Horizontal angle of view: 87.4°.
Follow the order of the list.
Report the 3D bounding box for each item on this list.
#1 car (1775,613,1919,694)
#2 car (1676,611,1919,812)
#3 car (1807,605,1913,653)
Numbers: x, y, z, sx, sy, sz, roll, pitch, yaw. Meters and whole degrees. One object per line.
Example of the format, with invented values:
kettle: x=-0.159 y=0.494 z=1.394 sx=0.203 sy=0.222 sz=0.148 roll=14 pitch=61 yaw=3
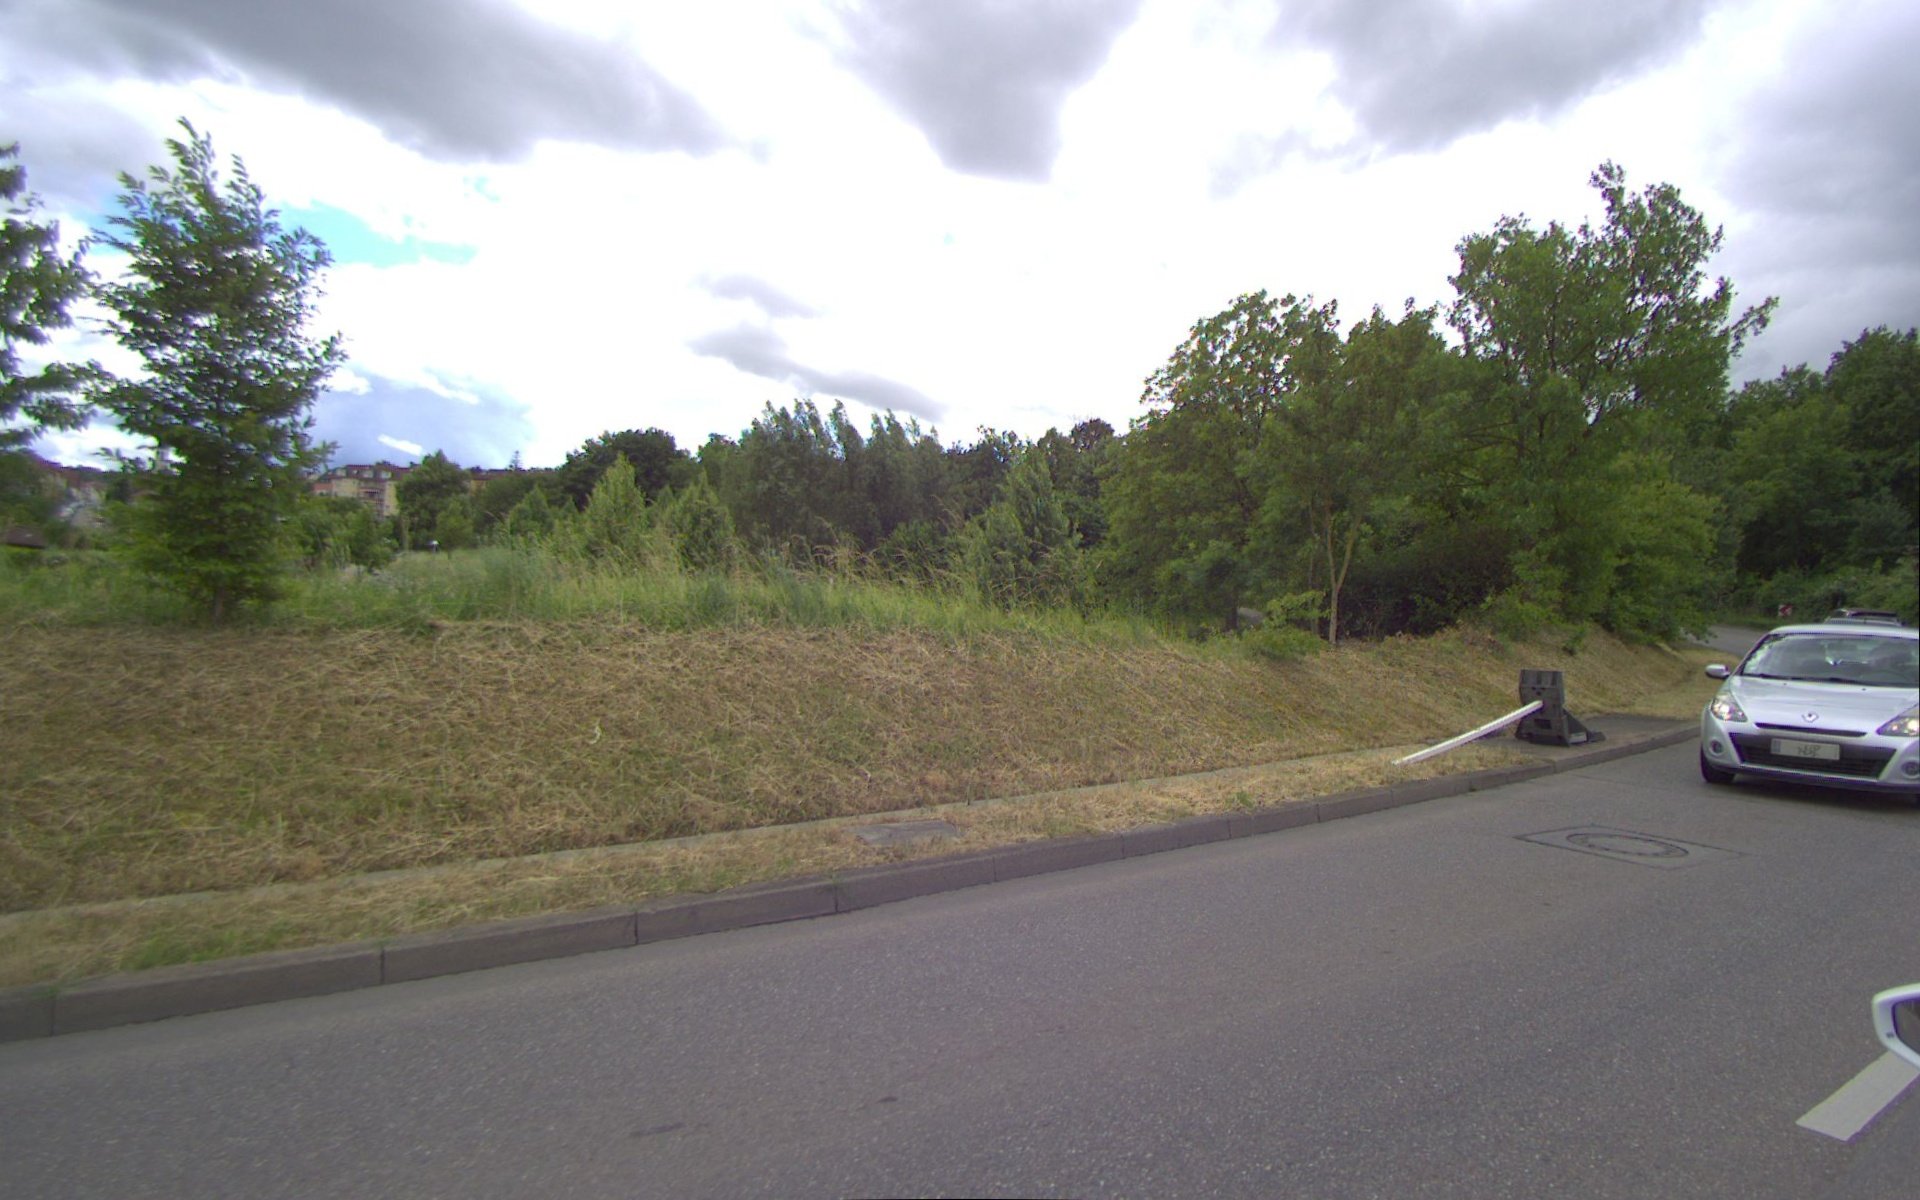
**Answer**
car: x=18.771 y=1.094 z=21.189 sx=1.711 sy=1.515 sz=4.427 roll=1 pitch=-1 yaw=30
car: x=8.347 y=0.924 z=9.518 sx=3.885 sy=1.515 sz=1.758 roll=2 pitch=-1 yaw=-42
car: x=30.045 y=0.950 z=33.672 sx=1.812 sy=1.503 sz=3.993 roll=0 pitch=-1 yaw=29
